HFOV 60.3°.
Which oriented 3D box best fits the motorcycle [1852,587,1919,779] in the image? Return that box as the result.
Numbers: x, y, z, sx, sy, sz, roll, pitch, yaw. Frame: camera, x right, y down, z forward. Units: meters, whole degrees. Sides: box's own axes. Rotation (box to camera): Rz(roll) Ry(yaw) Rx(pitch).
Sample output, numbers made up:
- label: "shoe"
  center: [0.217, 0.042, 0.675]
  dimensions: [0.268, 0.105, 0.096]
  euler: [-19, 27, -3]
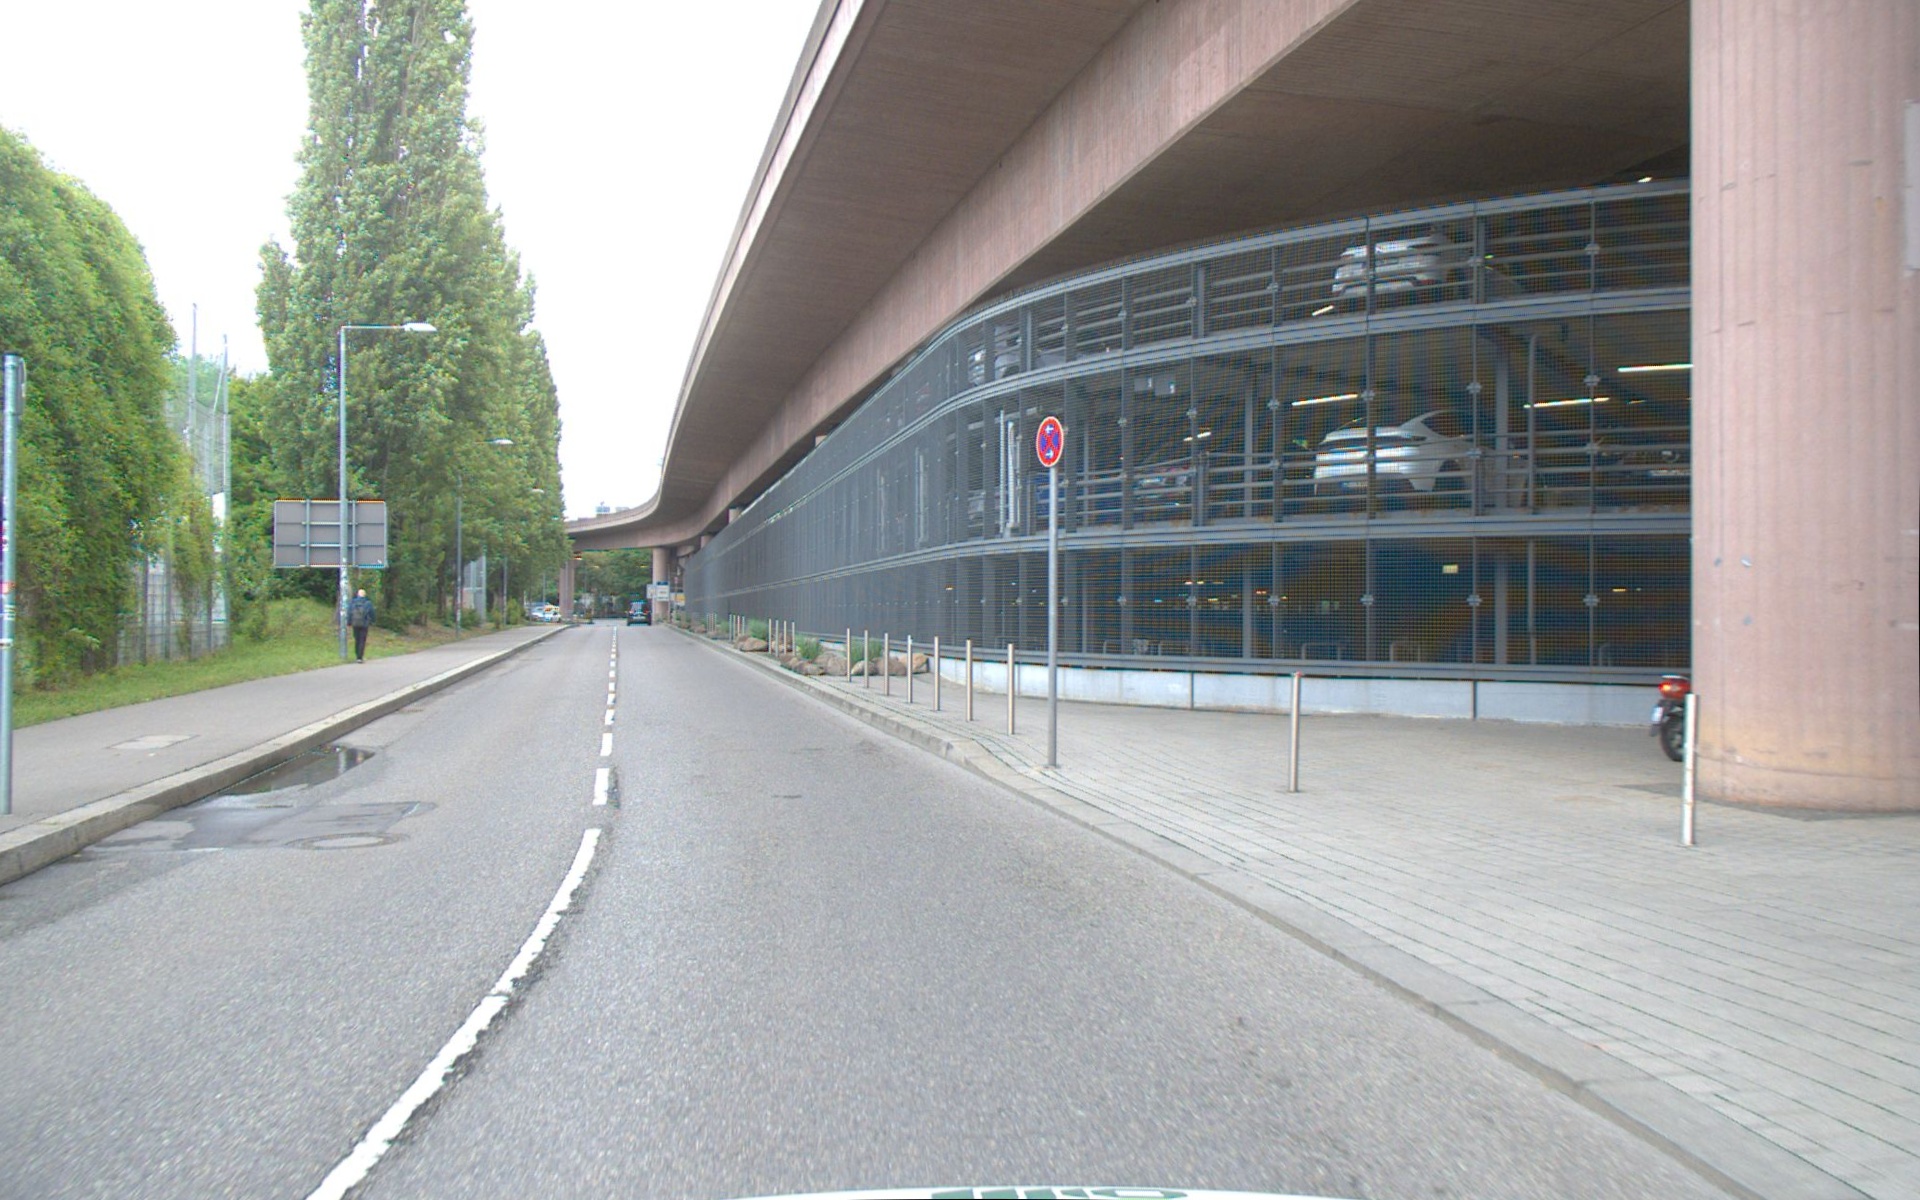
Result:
- label: "motorcycle"
  center: [7.886, 0.657, 12.731]
  dimensions: [0.634, 1.480, 1.747]
  euler: [-1, 1, -27]

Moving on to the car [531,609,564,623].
- label: "car"
  center: [-53.641, 2.071, 215.122]
  dimensions: [1.844, 1.746, 4.147]
  euler: [0, 1, 29]

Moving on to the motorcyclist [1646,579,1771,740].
- label: "motorcyclist"
  center: [6.904, 0.529, 15.293]
  dimensions: [0.848, 1.444, 0.765]
  euler: [0, 1, 6]

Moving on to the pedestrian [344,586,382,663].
- label: "pedestrian"
  center: [-14.538, 0.583, 40.290]
  dimensions: [0.791, 1.812, 0.916]
  euler: [-1, 1, -17]

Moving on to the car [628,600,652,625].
- label: "car"
  center: [-24.488, 0.935, 126.523]
  dimensions: [1.807, 1.741, 3.695]
  euler: [0, 1, -12]

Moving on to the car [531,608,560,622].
- label: "car"
  center: [-54.772, 2.017, 218.788]
  dimensions: [1.687, 1.746, 3.667]
  euler: [0, 1, 29]

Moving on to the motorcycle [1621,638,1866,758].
- label: "motorcycle"
  center: [7.201, 0.892, 15.278]
  dimensions: [1.909, 1.040, 0.749]
  euler: [0, 1, 6]
